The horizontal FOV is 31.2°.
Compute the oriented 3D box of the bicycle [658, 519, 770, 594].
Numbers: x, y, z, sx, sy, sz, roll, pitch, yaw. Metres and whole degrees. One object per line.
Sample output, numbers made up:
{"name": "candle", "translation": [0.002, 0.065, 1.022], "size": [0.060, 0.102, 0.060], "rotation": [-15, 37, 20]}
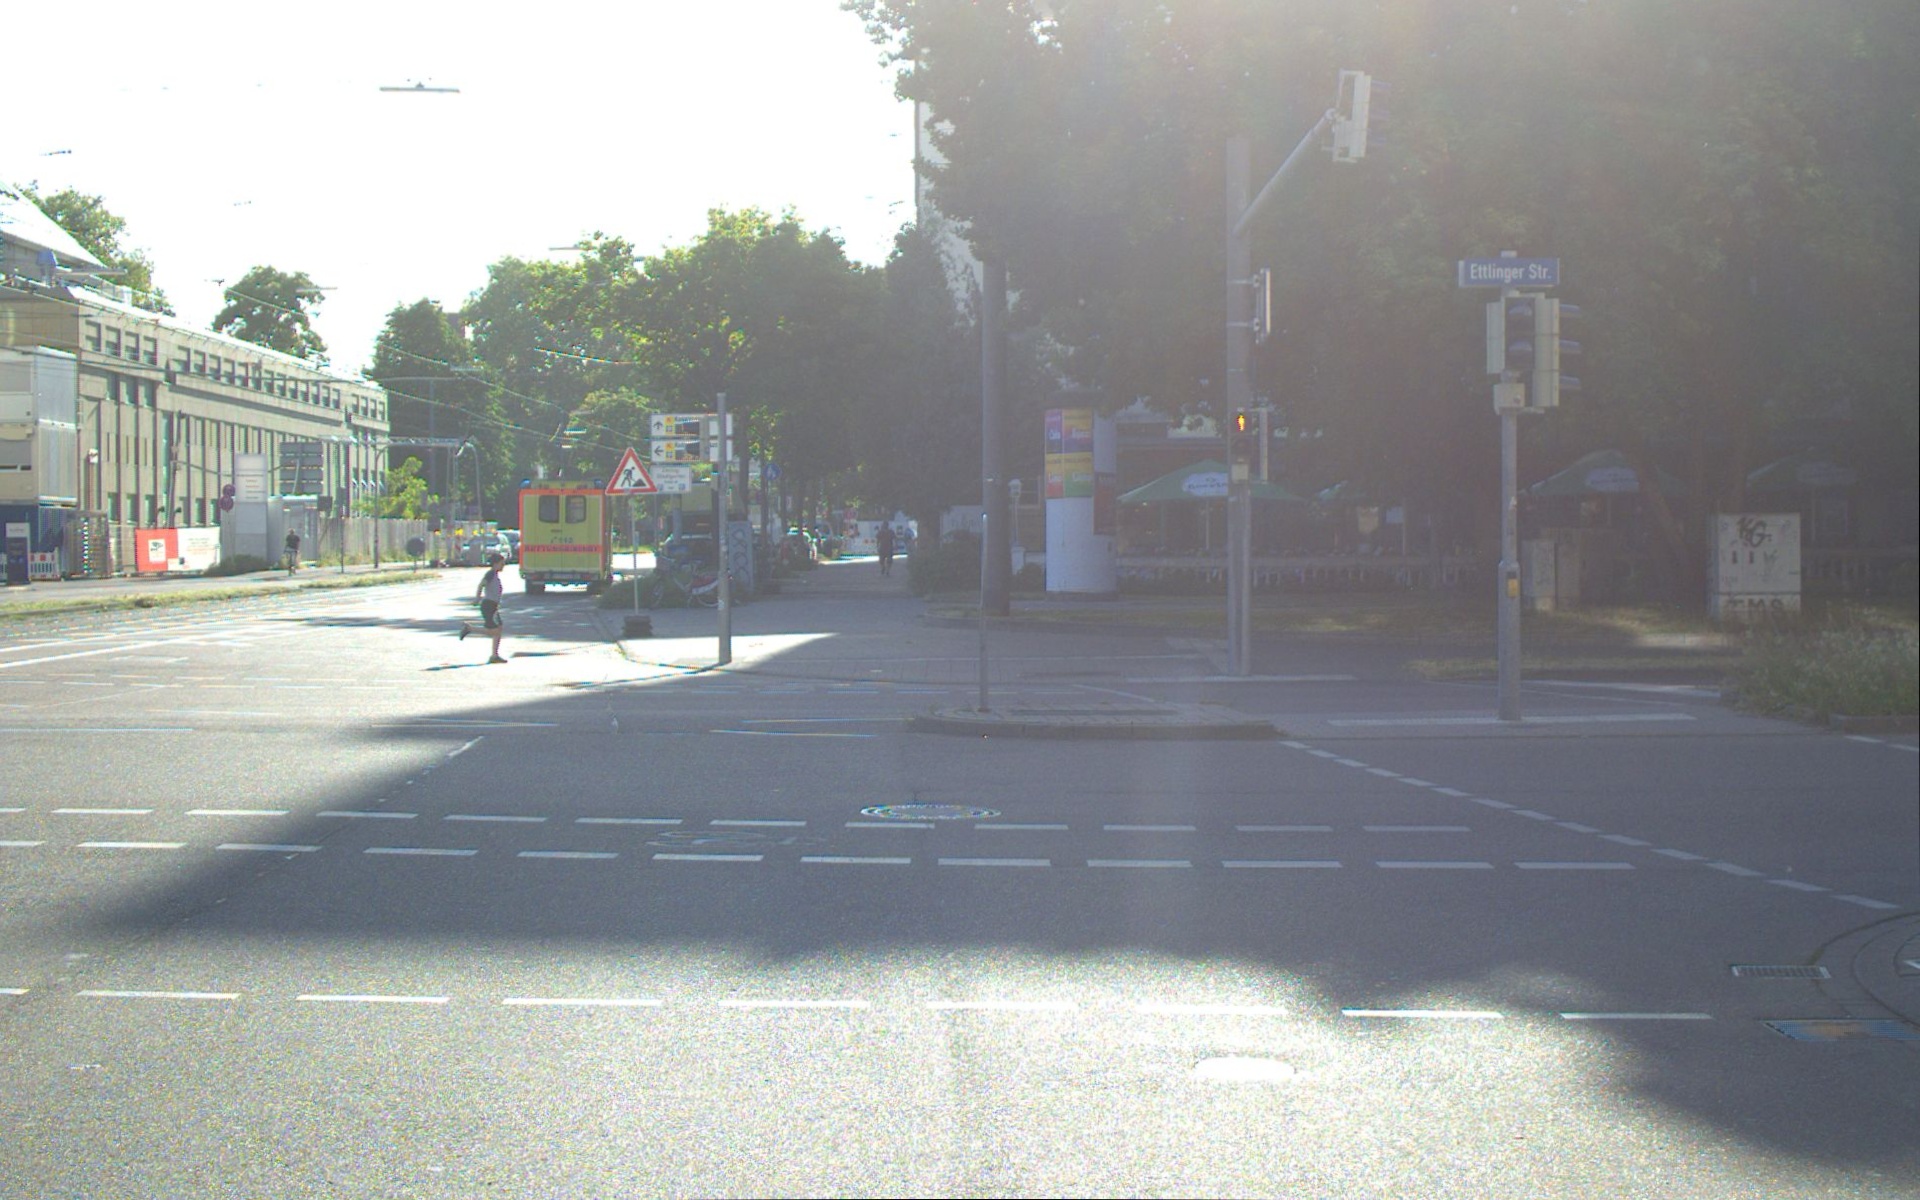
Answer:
{"name": "bicycle", "translation": [-5.824, -1.032, 81.456], "size": [2.547, 1.737, 1.037], "rotation": [1, 0, 0]}

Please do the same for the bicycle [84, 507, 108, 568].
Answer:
{"name": "bicycle", "translation": [-32.735, -2.358, 130.279], "size": [0.571, 2.288, 1.422], "rotation": [0, 1, -2]}

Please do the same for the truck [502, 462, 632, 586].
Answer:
{"name": "truck", "translation": [-9.814, -1.891, 86.411], "size": [2.716, 3.005, 6.490], "rotation": [0, 1, -2]}

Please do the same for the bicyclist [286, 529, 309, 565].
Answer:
{"name": "bicyclist", "translation": [-25.046, -1.995, 130.009], "size": [0.689, 1.323, 1.000], "rotation": [1, 0, -3]}

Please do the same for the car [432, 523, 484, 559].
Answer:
{"name": "car", "translation": [-22.837, -2.690, 156.518], "size": [1.894, 1.601, 4.501], "rotation": [-1, 1, -2]}

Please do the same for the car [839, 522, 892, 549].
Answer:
{"name": "car", "translation": [-5.892, -4.012, 213.452], "size": [3.214, 1.583, 1.446], "rotation": [1, 0, -4]}

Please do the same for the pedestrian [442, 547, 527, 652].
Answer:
{"name": "pedestrian", "translation": [-6.034, -0.015, 43.654], "size": [0.993, 1.313, 0.767], "rotation": [-1, 1, -3]}

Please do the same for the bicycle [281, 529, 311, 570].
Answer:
{"name": "bicycle", "translation": [-25.095, -1.893, 129.940], "size": [0.689, 1.506, 2.945], "rotation": [1, 1, -3]}

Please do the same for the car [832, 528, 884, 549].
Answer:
{"name": "car", "translation": [-6.258, -3.793, 211.168], "size": [3.217, 1.259, 1.373], "rotation": [1, 0, -1]}
